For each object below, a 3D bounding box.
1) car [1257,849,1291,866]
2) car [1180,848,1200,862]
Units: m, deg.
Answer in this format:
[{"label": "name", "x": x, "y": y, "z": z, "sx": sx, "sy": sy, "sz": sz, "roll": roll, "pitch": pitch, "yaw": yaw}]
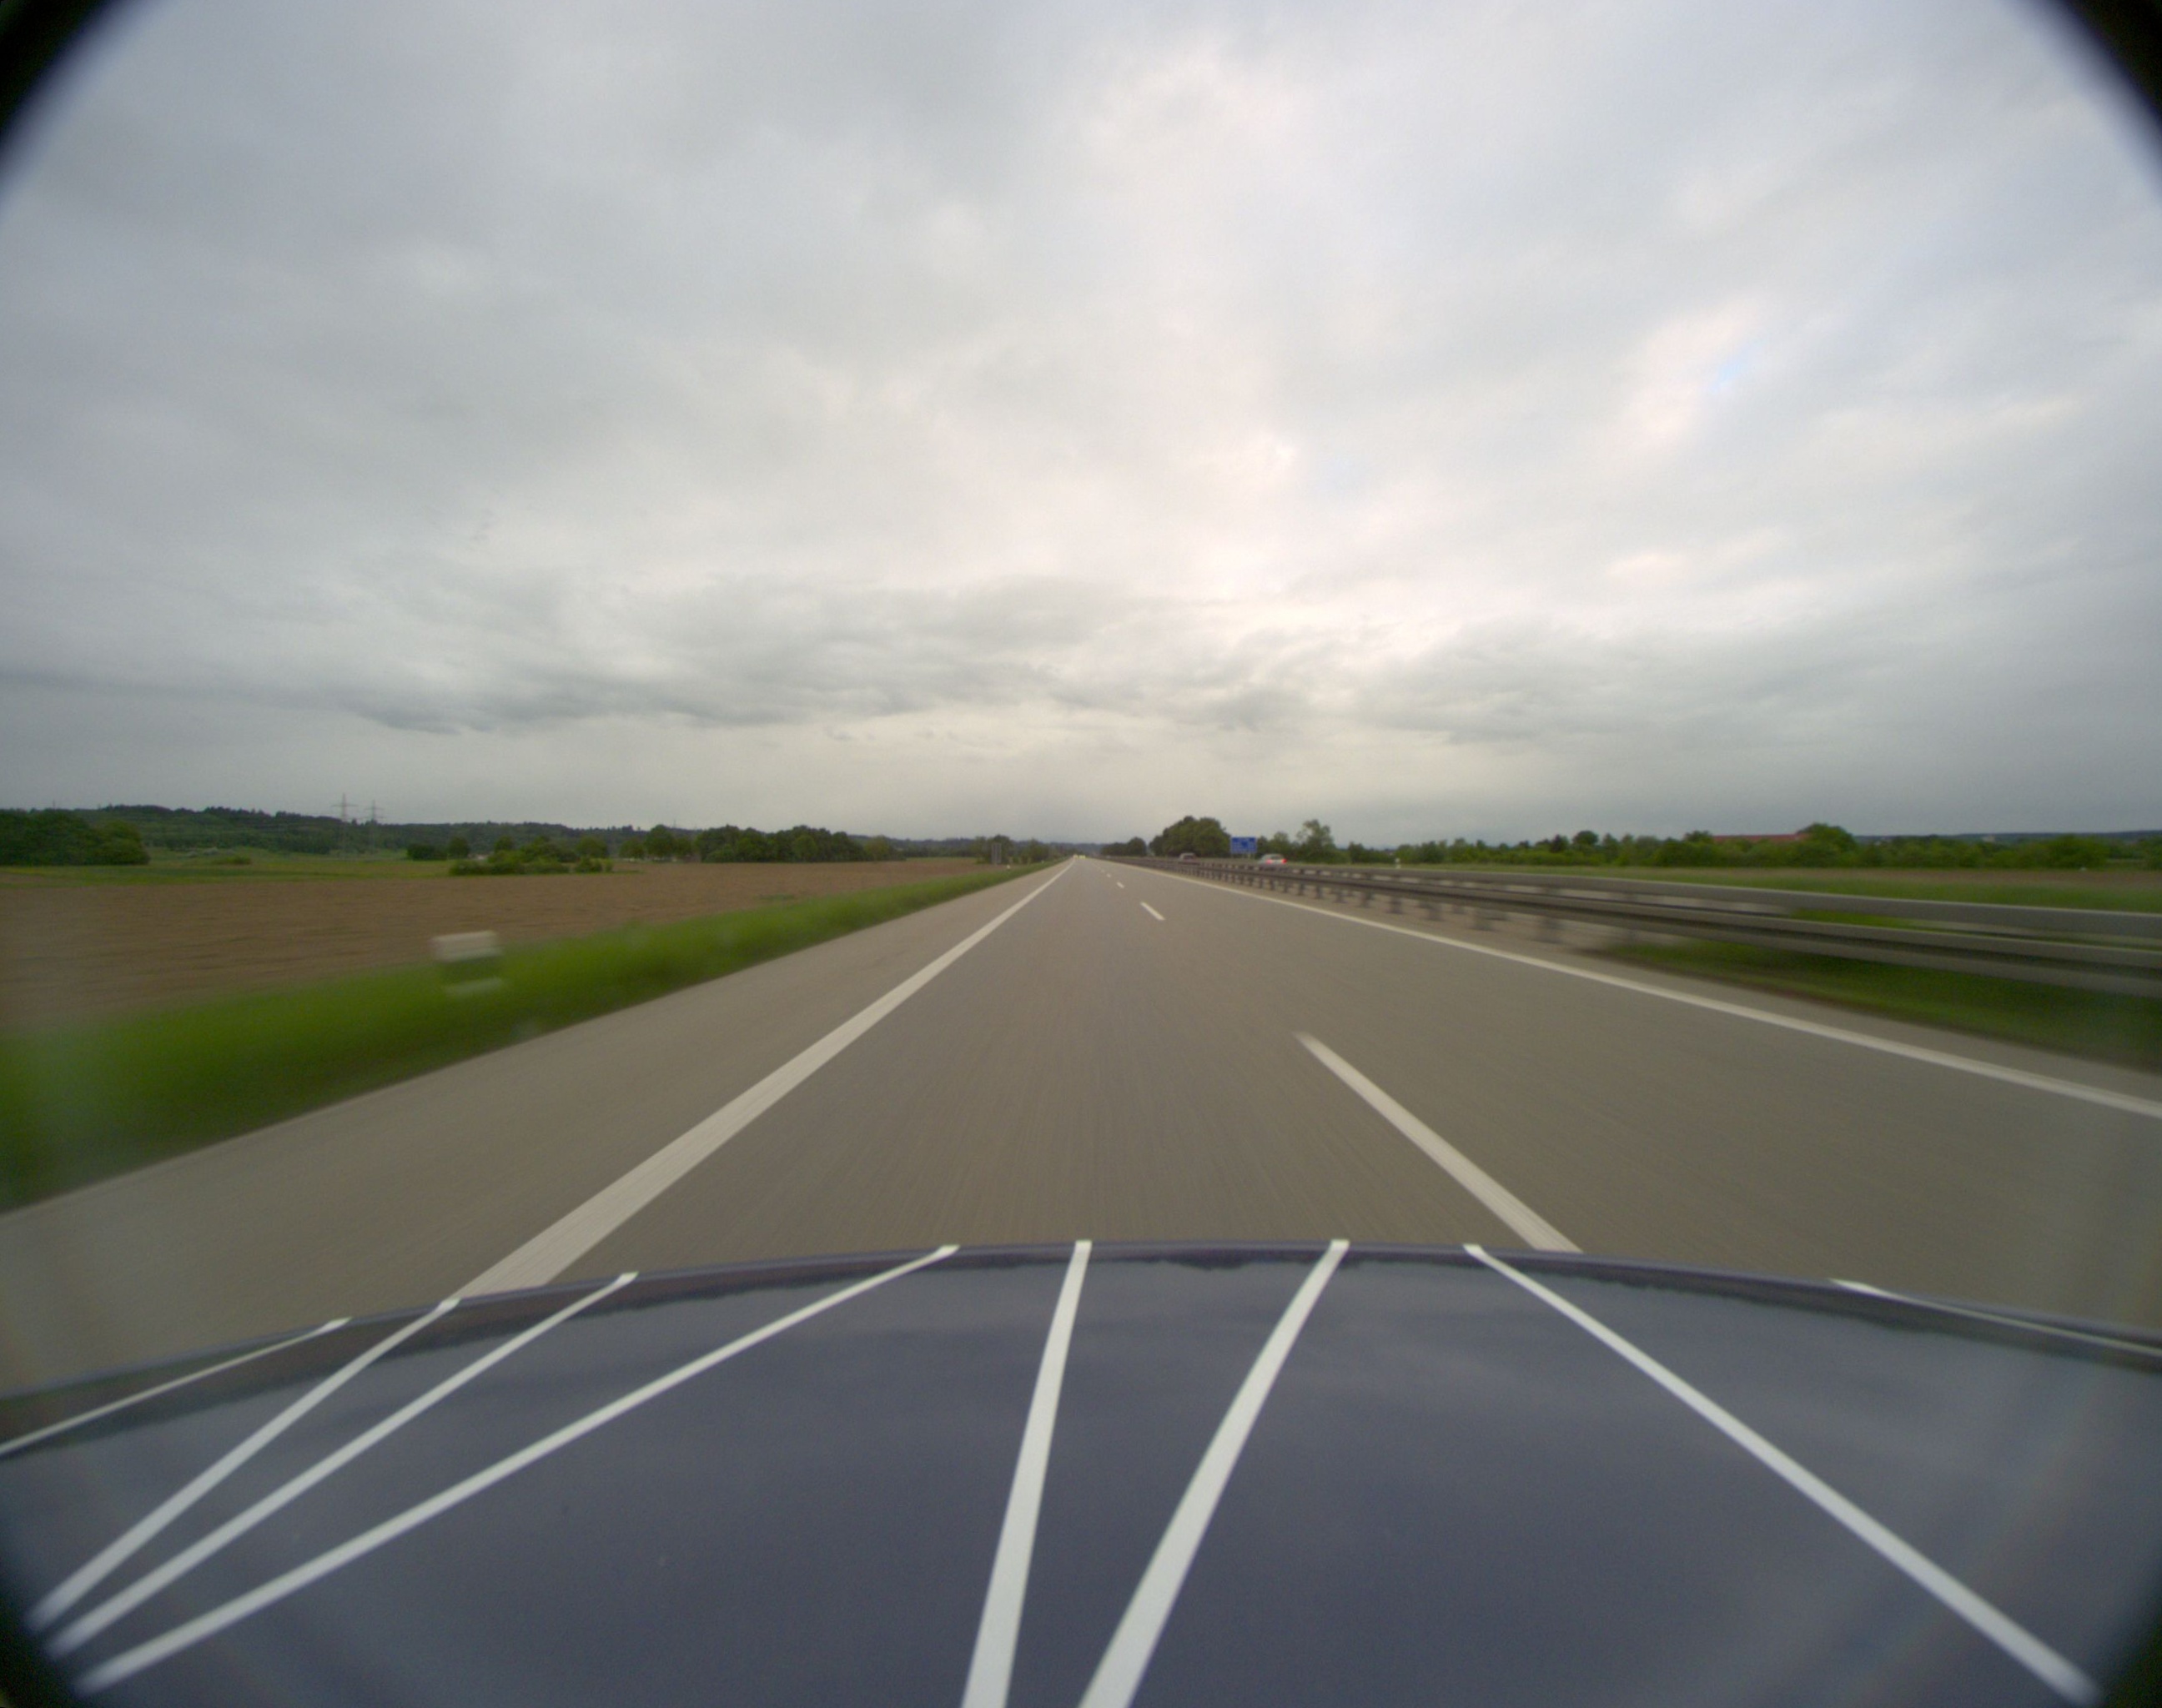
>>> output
[{"label": "car", "x": 18.173, "y": 0.307, "z": 71.840, "sx": 1.999, "sy": 1.487, "sz": 4.762, "roll": -1, "pitch": 0, "yaw": 0}, {"label": "car", "x": 13.787, "y": 0.140, "z": 96.284, "sx": 1.998, "sy": 1.691, "sz": 4.301, "roll": -2, "pitch": 0, "yaw": 1}]
